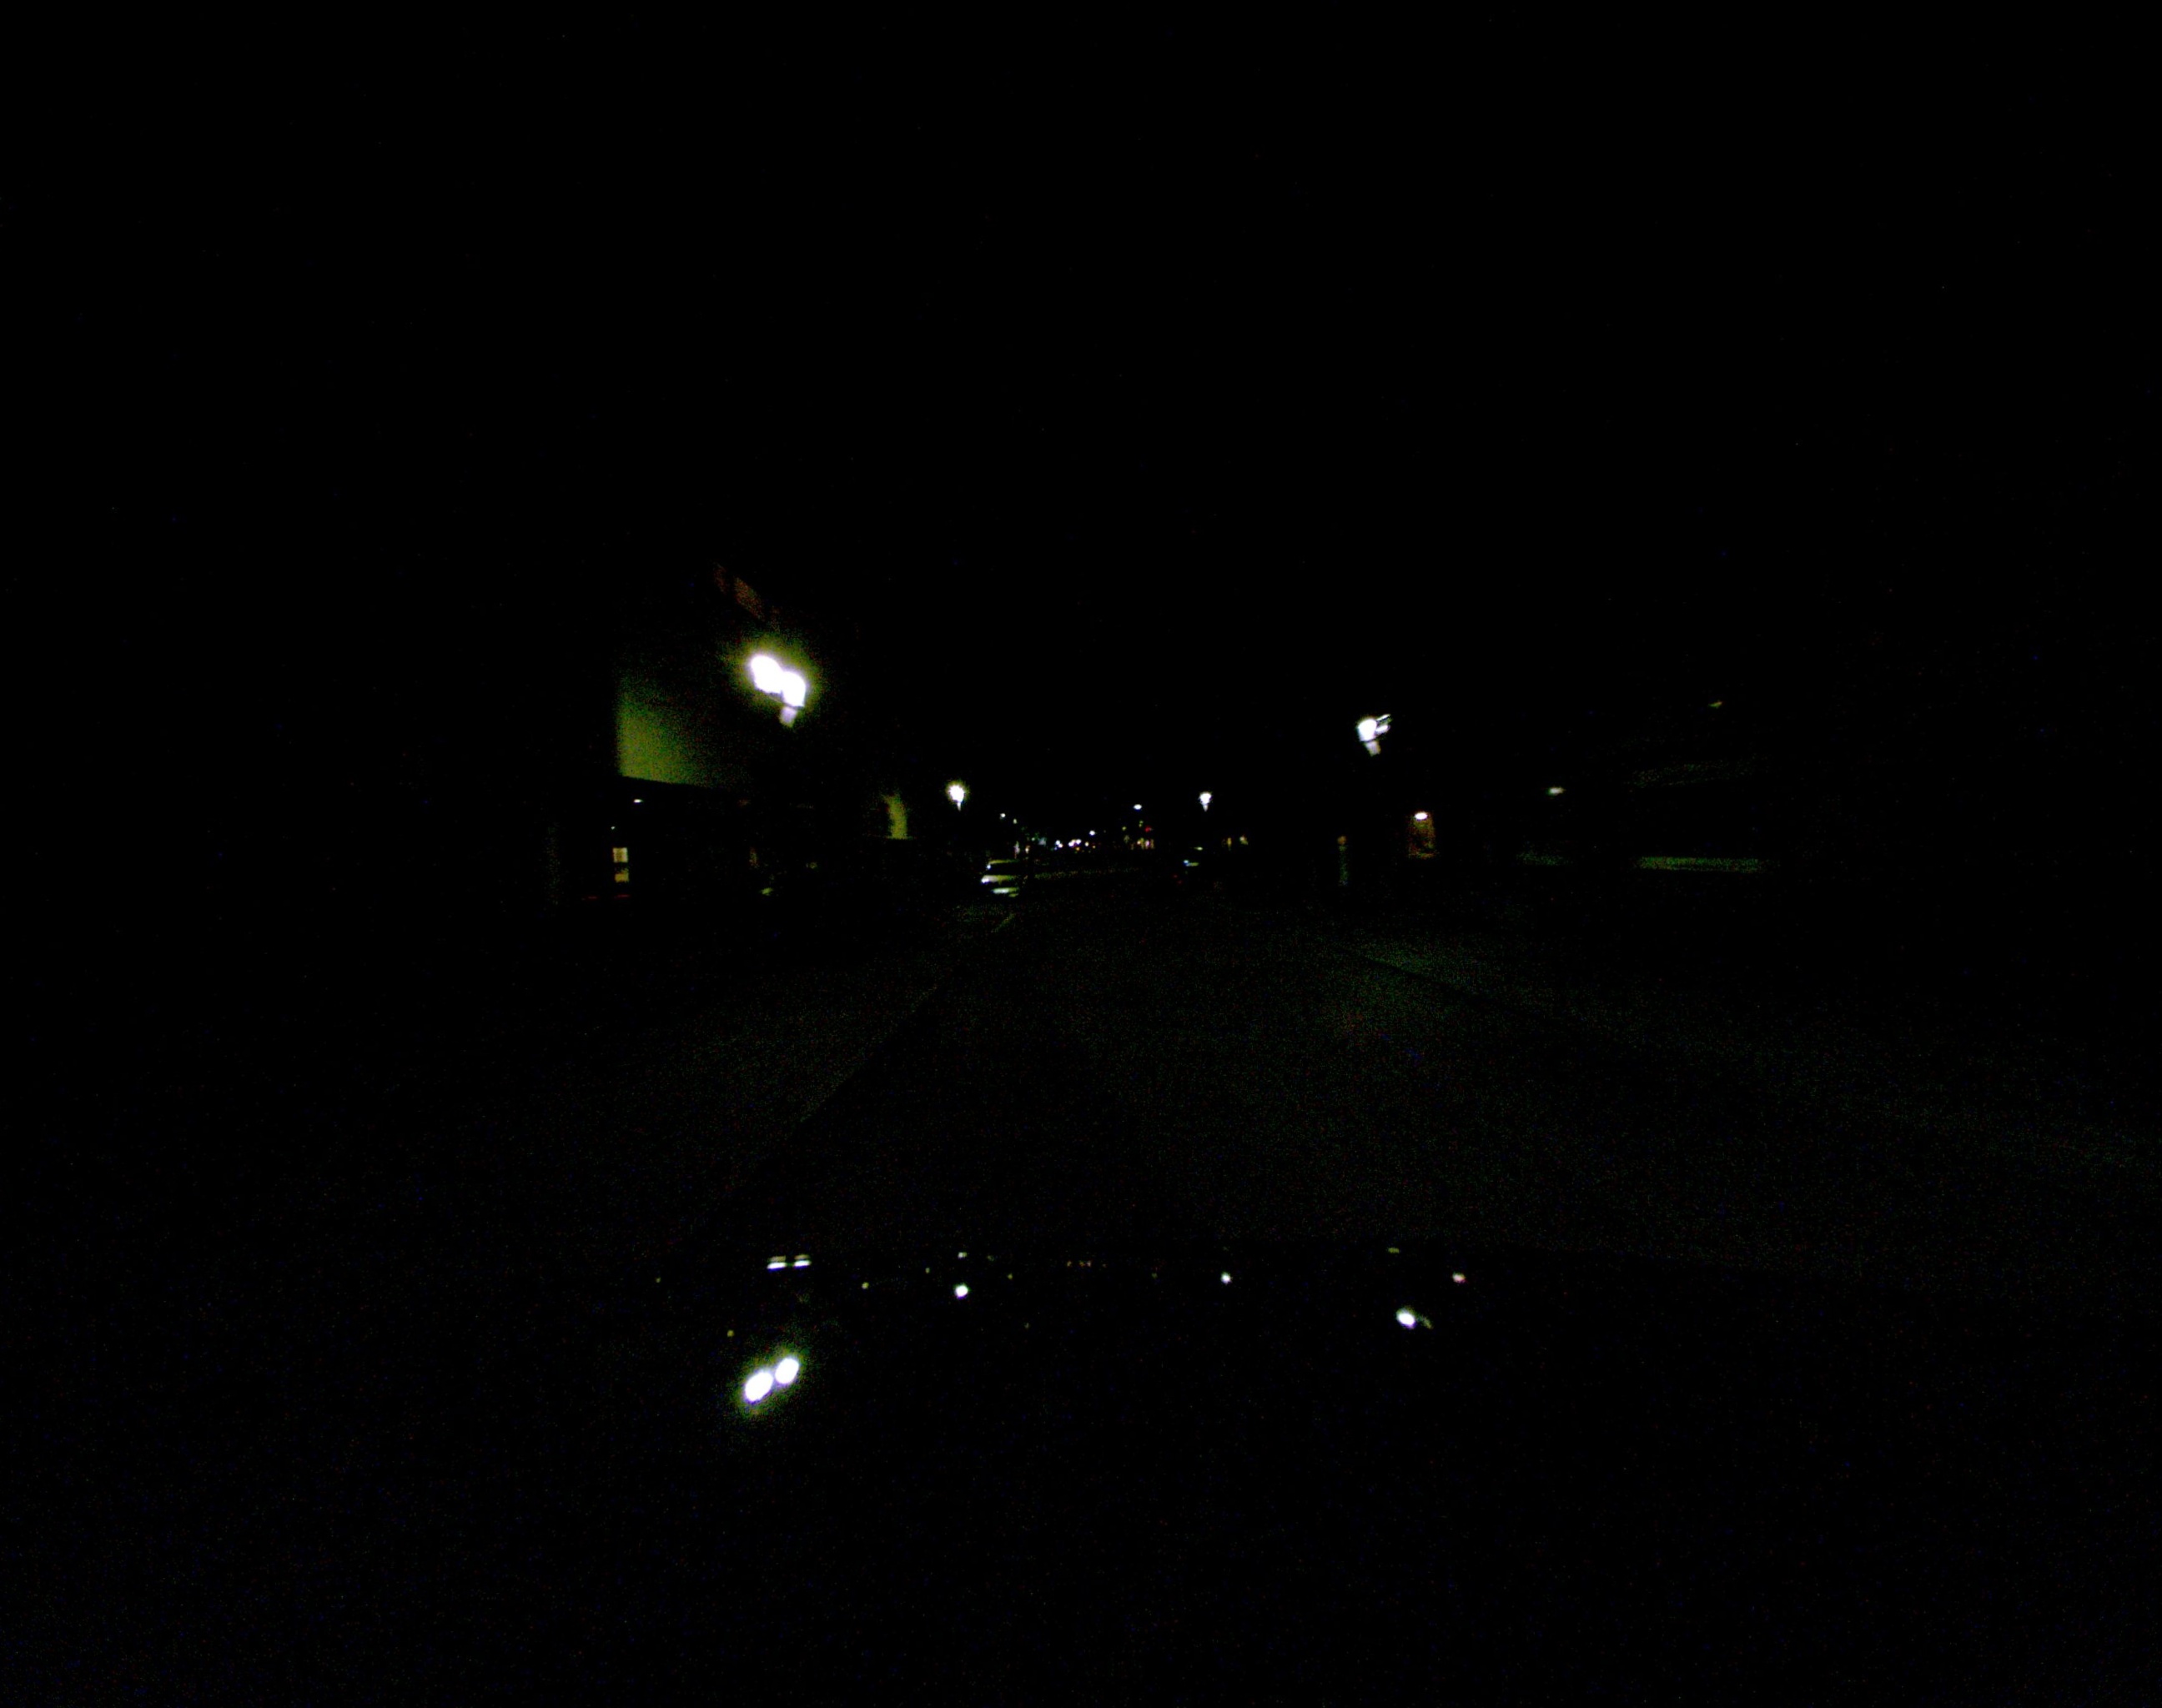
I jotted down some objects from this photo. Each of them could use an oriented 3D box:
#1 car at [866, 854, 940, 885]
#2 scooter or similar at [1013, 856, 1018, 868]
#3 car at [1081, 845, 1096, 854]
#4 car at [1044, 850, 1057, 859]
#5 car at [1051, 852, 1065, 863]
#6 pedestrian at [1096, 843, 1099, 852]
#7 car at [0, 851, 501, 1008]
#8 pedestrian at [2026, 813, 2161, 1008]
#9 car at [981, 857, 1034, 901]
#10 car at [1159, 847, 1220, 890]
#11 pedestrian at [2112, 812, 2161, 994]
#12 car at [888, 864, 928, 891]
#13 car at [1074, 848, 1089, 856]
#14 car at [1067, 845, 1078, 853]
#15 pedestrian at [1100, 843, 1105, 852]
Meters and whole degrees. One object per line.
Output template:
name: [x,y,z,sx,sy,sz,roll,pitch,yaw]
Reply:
car: [-12.906,1.119,55.195,4.859,1.856,1.933,4,2,-2]
scooter or similar: [-7.167,0.875,82.740,0.374,1.269,1.305,-2,2,1]
car: [1.400,-0.859,144.720,1.765,1.628,4.809,-2,1,-12]
car: [-5.675,0.006,141.230,1.748,1.479,4.631,-2,2,-8]
car: [-3.406,0.473,111.329,1.739,1.432,4.494,-2,1,-5]
pedestrian: [3.171,-1.229,143.650,0.502,1.812,0.503,-2,2,-9]
car: [-9.634,0.820,8.954,4.088,1.572,1.816,2,-1,-3]
pedestrian: [9.397,0.480,6.821,0.771,1.646,0.782,-2,-1,1]
car: [-2.692,0.879,28.529,1.679,1.451,3.674,-2,1,-2]
car: [4.834,0.593,34.536,2.023,1.681,5.002,-4,0,1]
pedestrian: [10.177,0.432,6.778,0.771,1.646,0.817,-2,-1,1]
car: [-11.443,1.526,50.566,1.809,1.452,4.055,2,2,-2]
car: [0.147,-0.377,151.513,1.912,1.533,4.776,-3,1,-13]
car: [-1.845,-1.176,162.108,1.776,1.565,4.478,-4,1,-9]
pedestrian: [4.093,-1.234,144.091,0.794,1.807,1.022,-4,2,-10]
